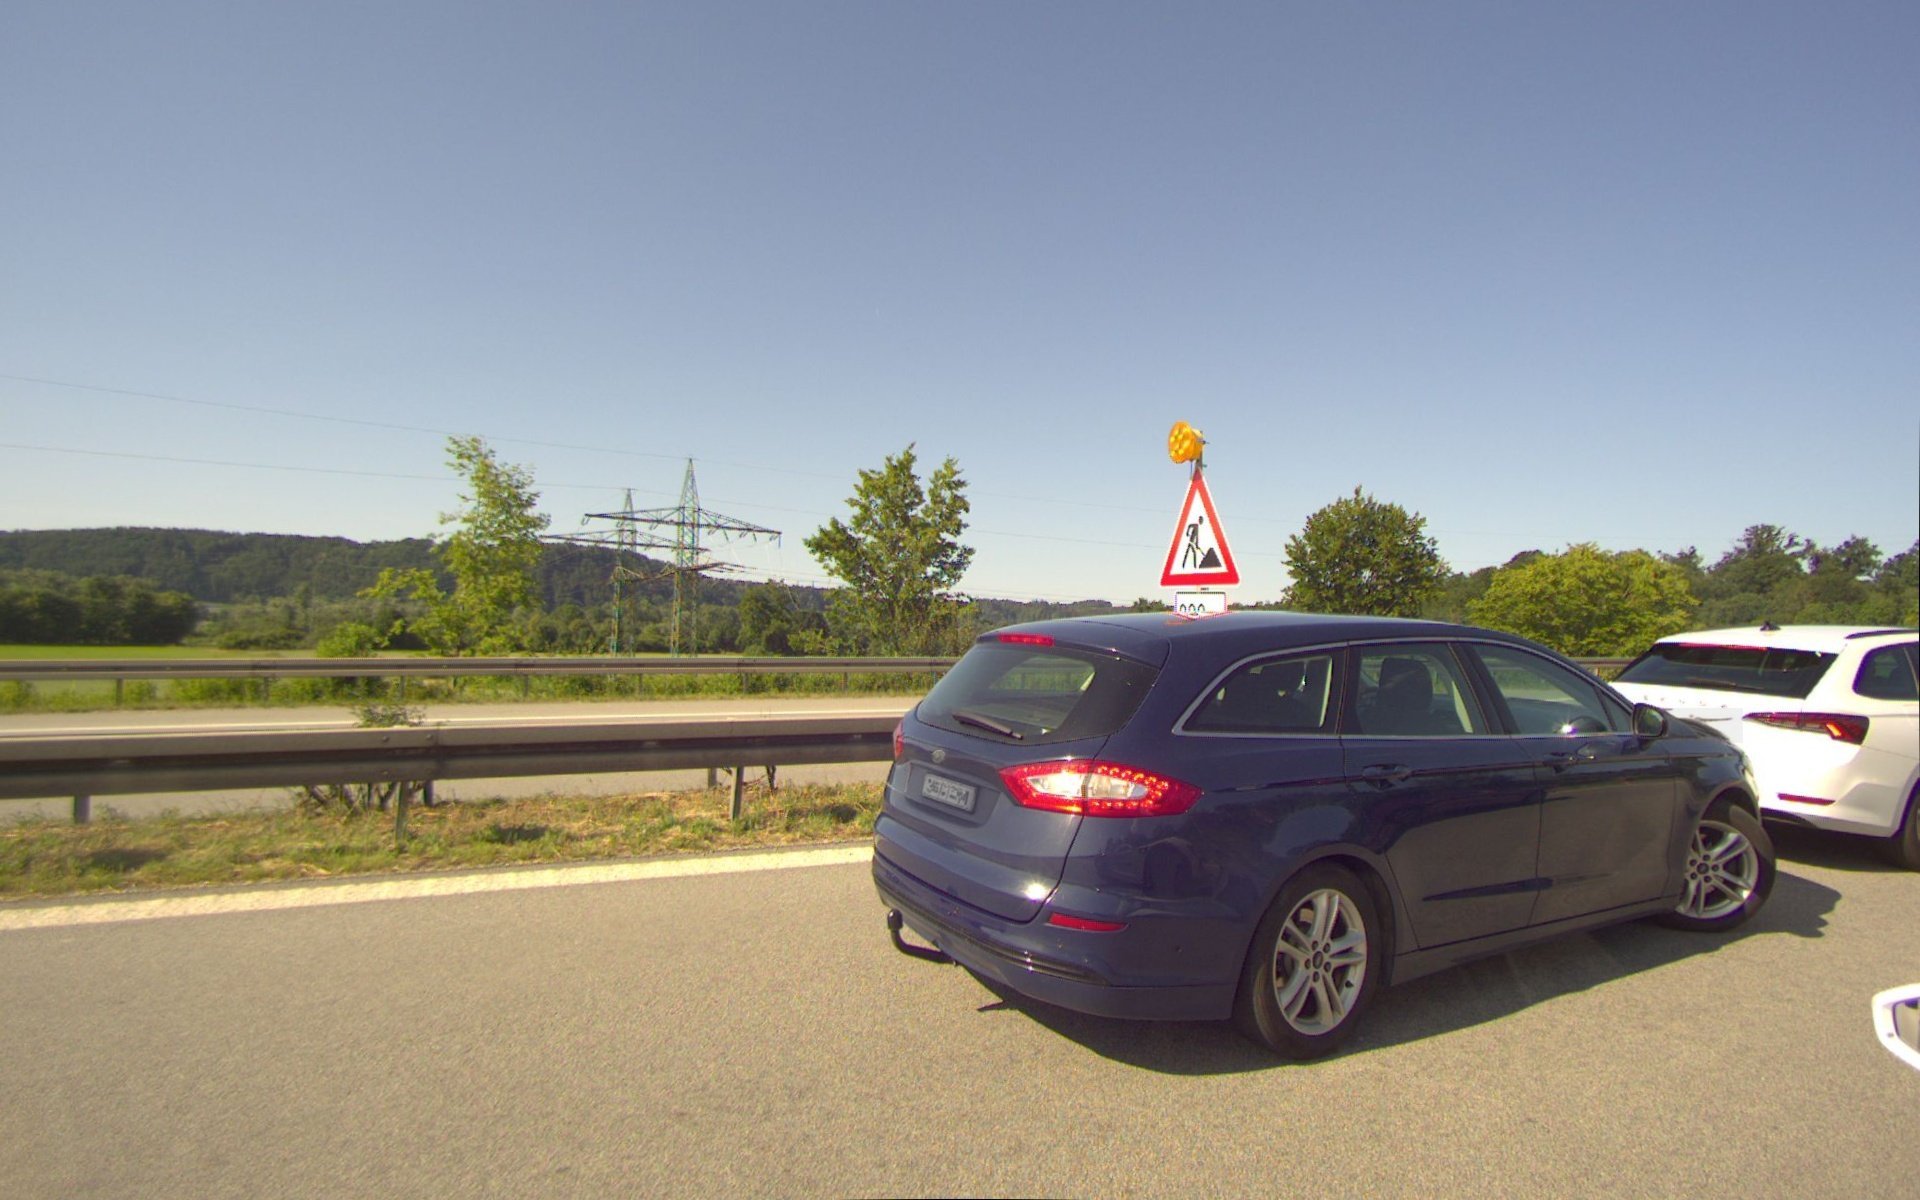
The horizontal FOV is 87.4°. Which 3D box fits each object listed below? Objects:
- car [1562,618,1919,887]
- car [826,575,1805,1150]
[{"bbox_3d":[6.542,0.906,7.153,4.148,1.461,1.691,1,0,-22],"label":"car"},{"bbox_3d":[1.797,0.754,4.564,4.441,1.513,1.779,1,-1,-31],"label":"car"}]
